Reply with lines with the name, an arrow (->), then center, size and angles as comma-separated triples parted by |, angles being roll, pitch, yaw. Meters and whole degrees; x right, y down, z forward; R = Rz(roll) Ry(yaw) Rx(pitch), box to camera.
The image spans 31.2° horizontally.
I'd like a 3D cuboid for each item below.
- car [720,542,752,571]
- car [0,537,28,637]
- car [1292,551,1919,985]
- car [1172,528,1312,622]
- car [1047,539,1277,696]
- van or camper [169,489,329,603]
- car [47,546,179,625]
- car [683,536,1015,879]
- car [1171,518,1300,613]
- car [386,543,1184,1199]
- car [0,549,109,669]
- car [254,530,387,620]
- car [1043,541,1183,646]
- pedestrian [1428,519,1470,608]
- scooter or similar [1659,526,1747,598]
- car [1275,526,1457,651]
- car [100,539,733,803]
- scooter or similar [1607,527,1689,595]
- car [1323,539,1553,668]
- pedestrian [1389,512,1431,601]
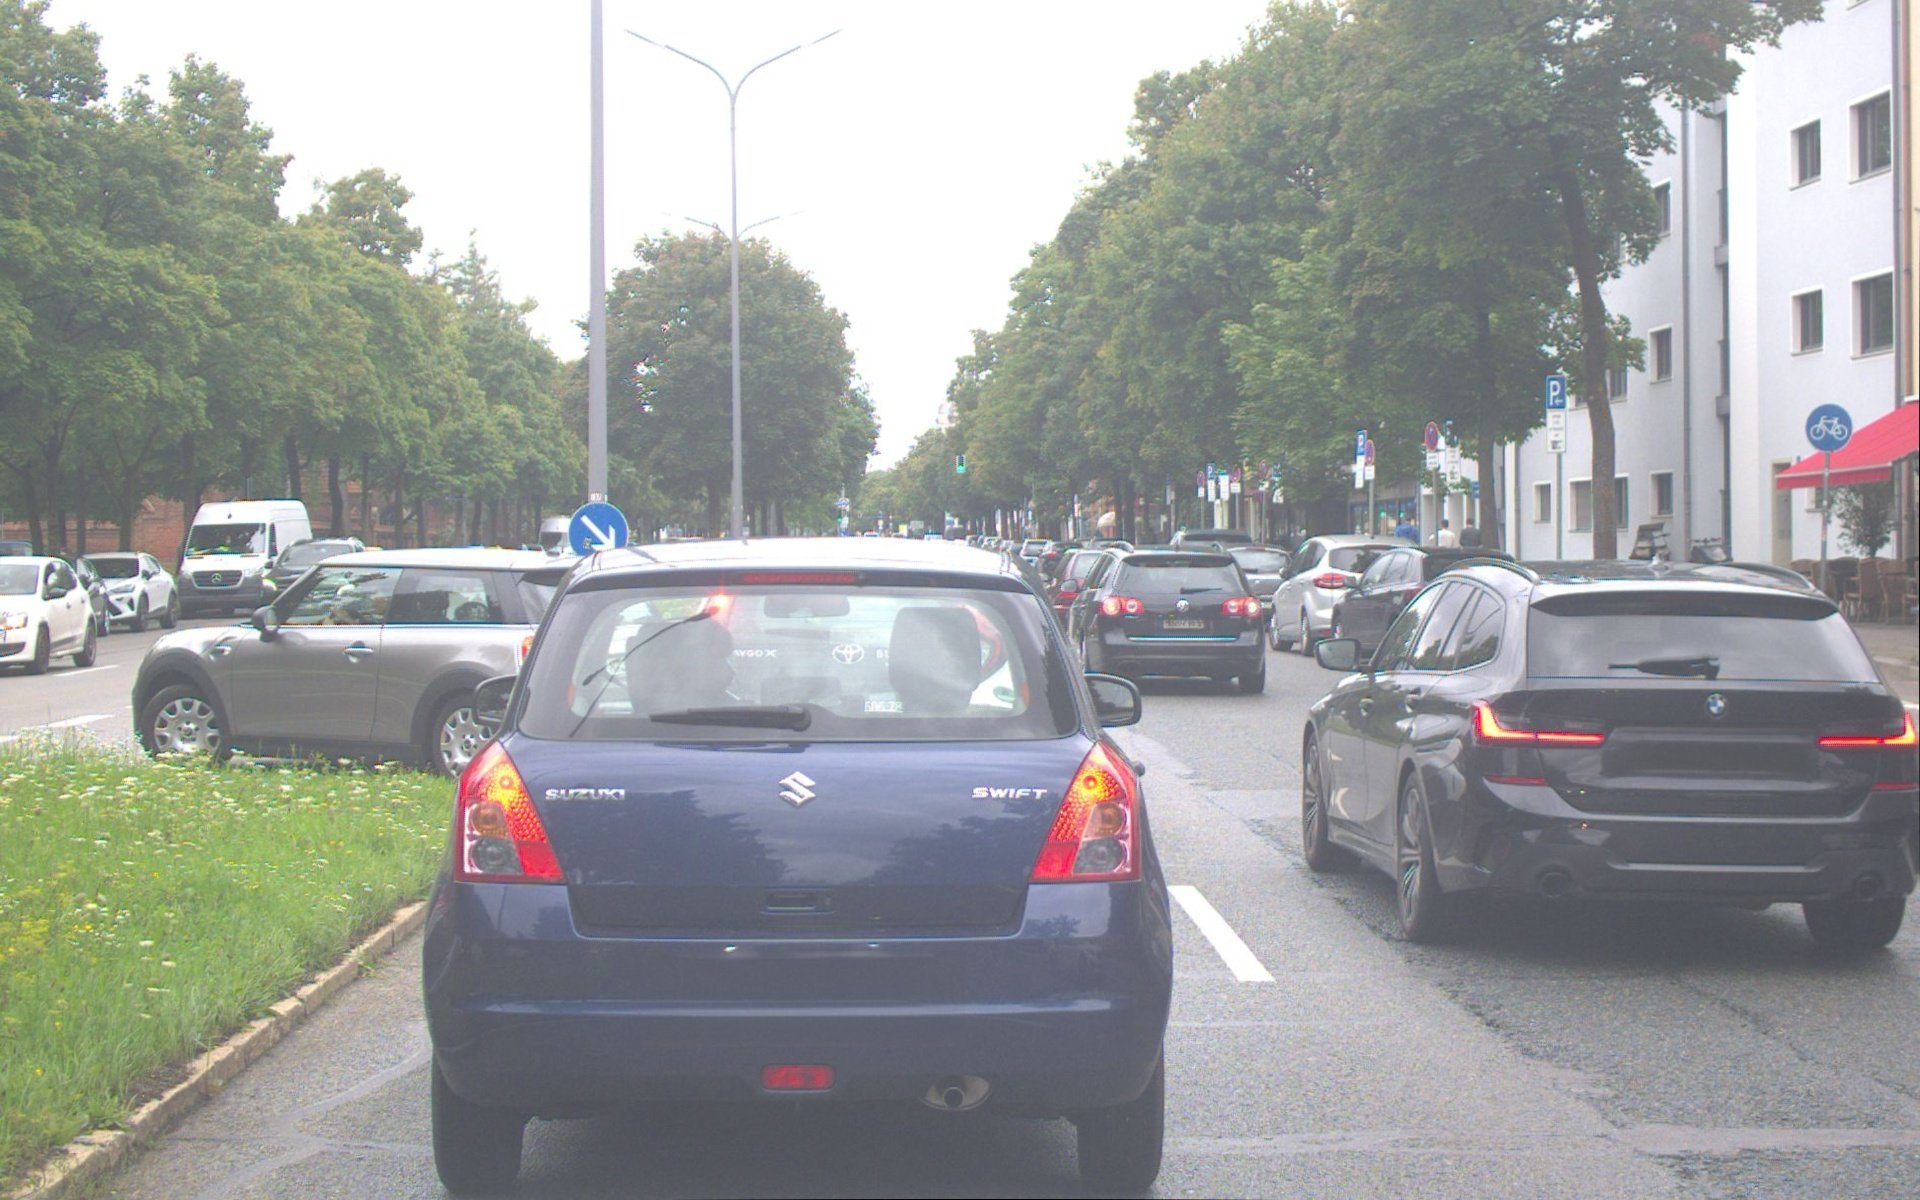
car -> -12.236, -2.361, 187.930 | 1.632, 1.547, 3.879 | 1, 1, -2
car -> -15.605, -0.203, 52.869 | 1.590, 1.553, 3.879 | 1, 1, -2
car -> 2.492, 0.544, 13.934 | 1.758, 1.408, 4.463 | 1, 1, -1
car -> 4.802, -0.460, 59.082 | 1.865, 1.512, 4.225 | -1, 1, -3
car -> 1.964, 0.132, 34.678 | 1.731, 1.427, 4.443 | 1, 1, -4
van or camper -> -16.206, -1.240, 78.750 | 2.117, 2.473, 7.449 | 1, 1, 0
car -> -15.873, -0.297, 64.581 | 1.632, 1.426, 3.879 | 1, 1, -2
car -> -0.537, 0.440, 16.511 | 1.444, 1.478, 3.107 | 0, 1, -2
car -> 5.084, -0.671, 63.934 | 1.865, 1.677, 4.225 | -1, 1, -3
car -> -0.437, 0.610, 9.222 | 1.682, 1.496, 3.919 | 0, 1, -2
car -> -11.691, 0.101, 42.073 | 1.618, 1.370, 3.838 | -2, 1, -1
car -> -12.343, -0.509, 66.613 | 1.766, 1.618, 4.507 | -2, 1, -1
car -> 2.119, -0.123, 48.518 | 1.682, 1.379, 3.919 | 1, 1, -1
pedestrian -> 11.089, -0.832, 77.997 | 0.794, 2.007, 1.006 | 0, 1, 0
scooter or similar -> 13.747, -0.715, 63.682 | 1.033, 1.303, 2.755 | 0, 1, 0
car -> 5.353, -0.188, 45.825 | 1.791, 1.553, 4.225 | -1, 1, -2
car -> -3.362, 0.365, 21.028 | 3.729, 1.458, 1.684 | 1, 2, 36
scooter or similar -> 13.446, -0.777, 67.257 | 1.033, 1.303, 2.755 | 0, 1, 0
car -> 5.642, 0.004, 41.054 | 1.865, 1.412, 4.225 | -1, 1, -4
pedestrian -> 10.206, -0.983, 77.982 | 0.794, 2.007, 1.006 | 0, 1, 0
